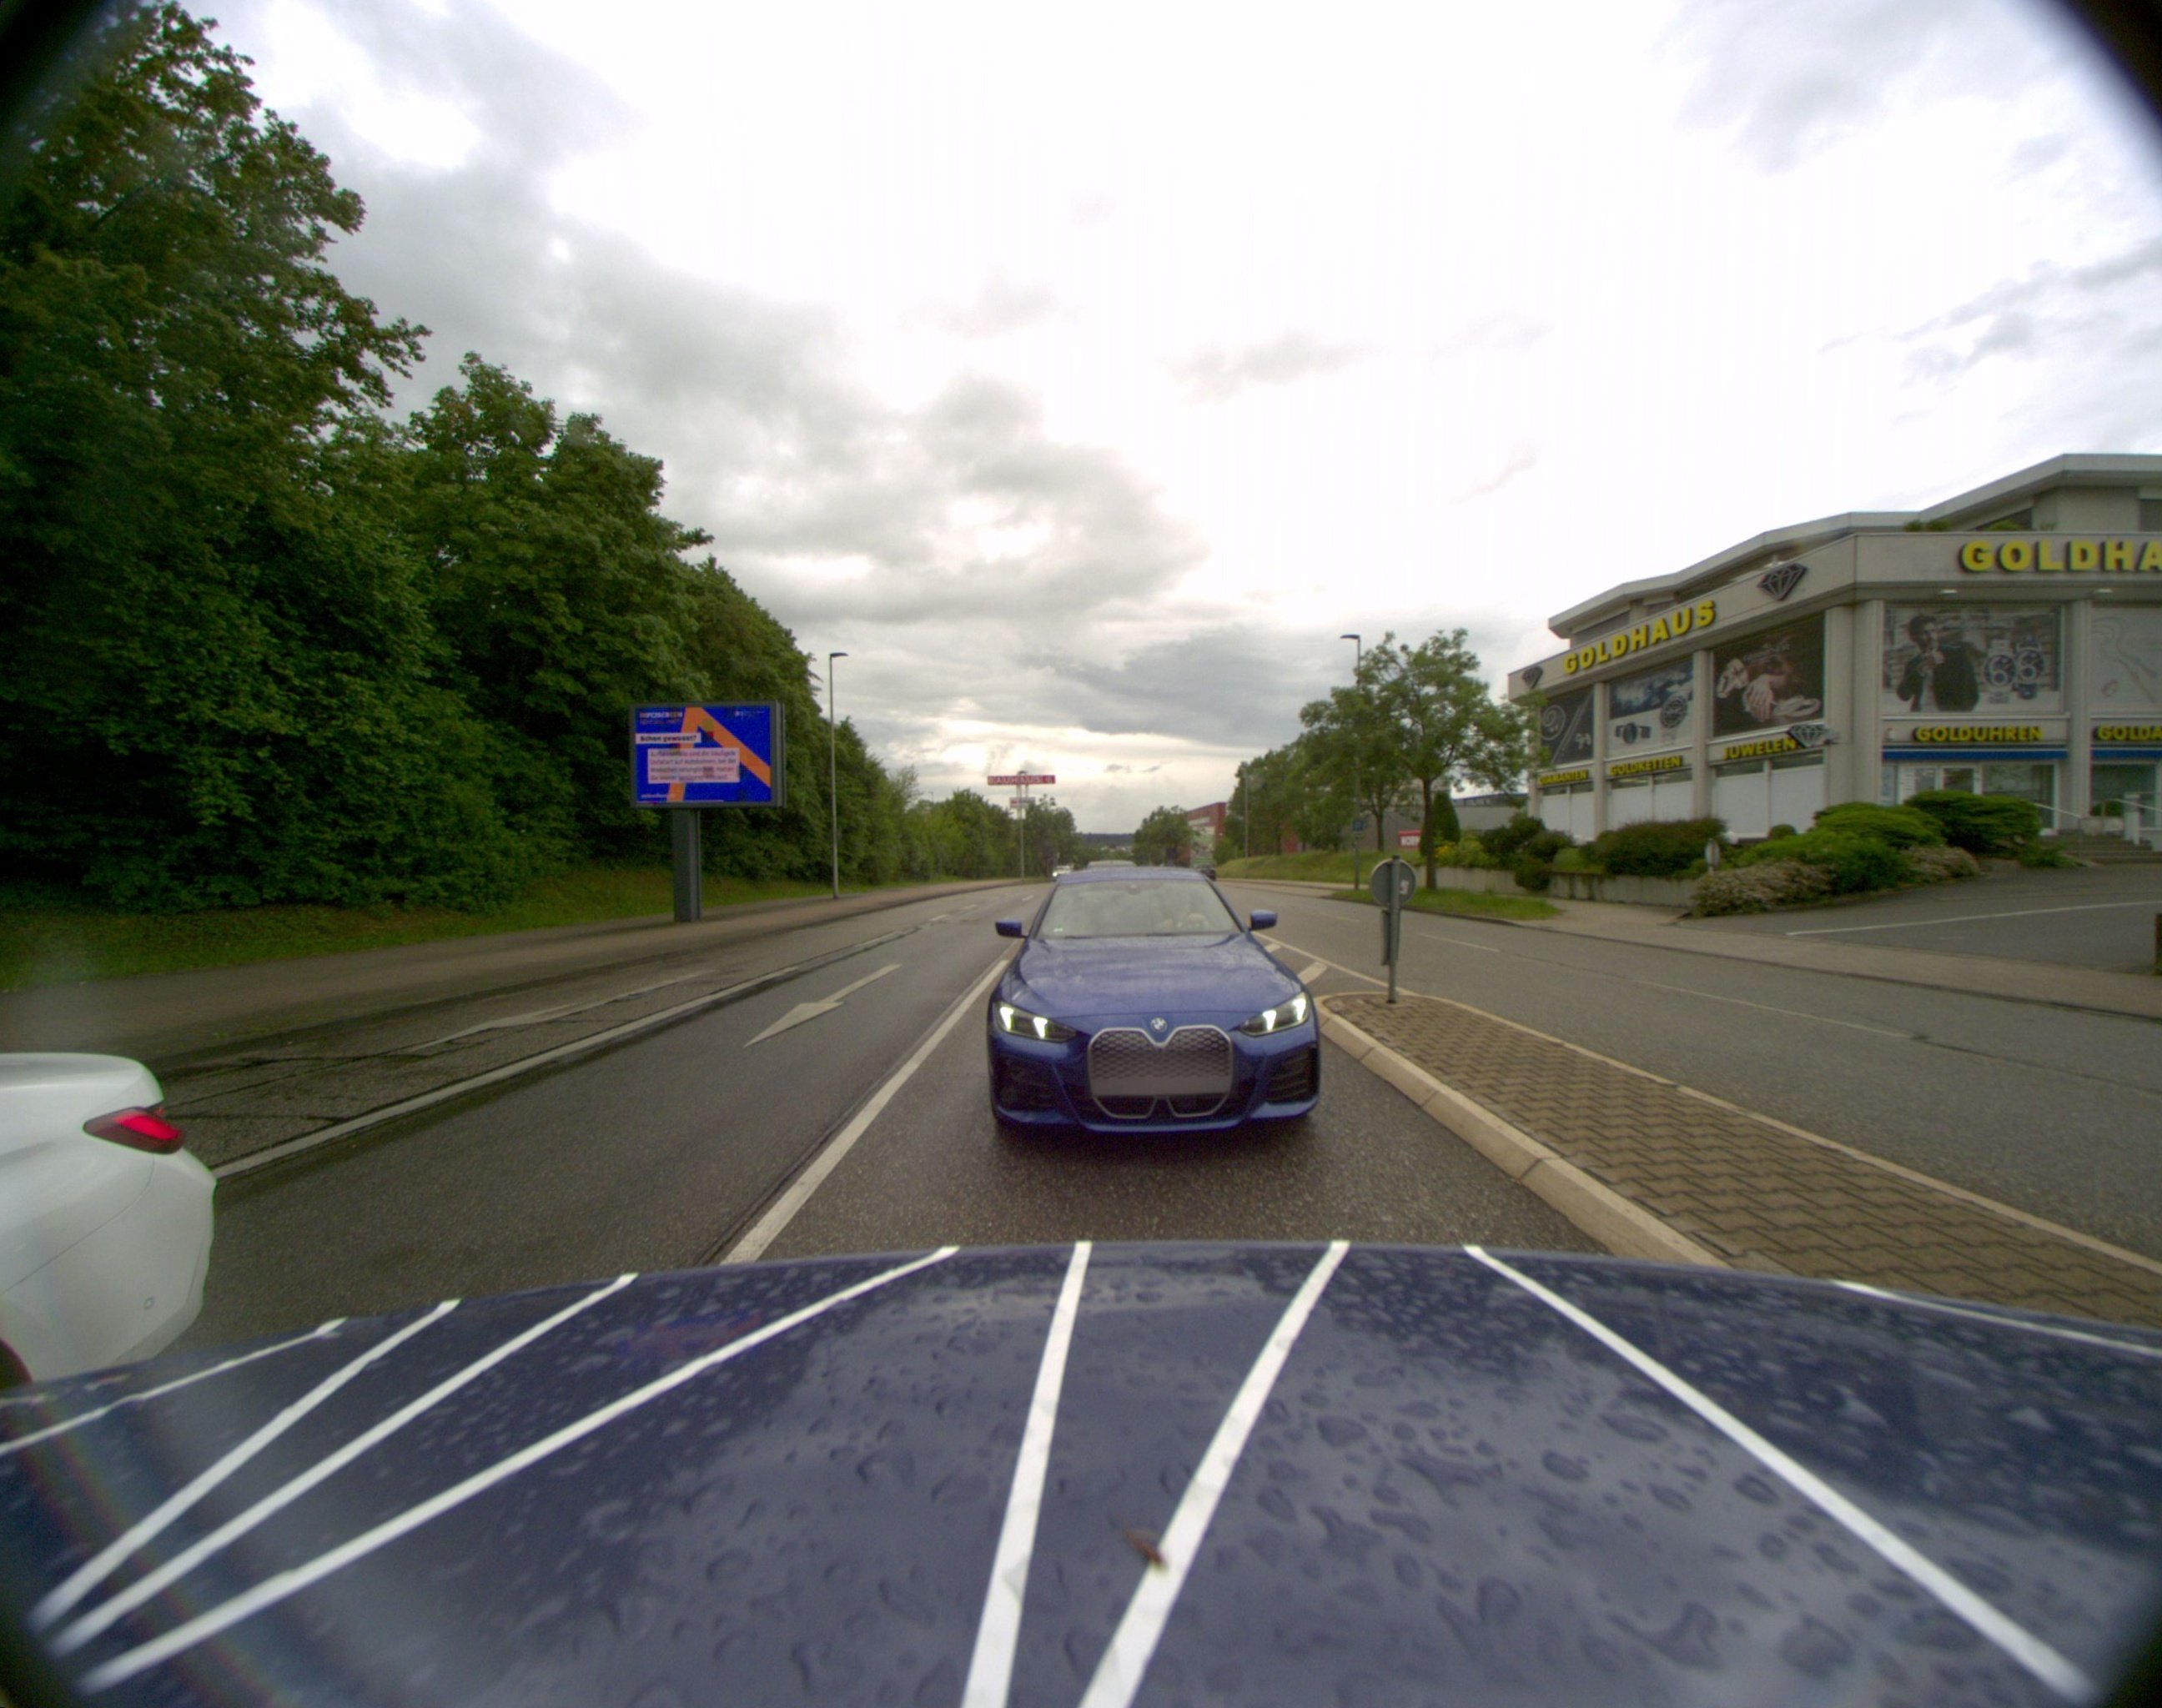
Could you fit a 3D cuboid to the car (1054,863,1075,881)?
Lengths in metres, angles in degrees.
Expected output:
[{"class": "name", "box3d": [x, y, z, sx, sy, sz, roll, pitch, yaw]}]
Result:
[{"class": "car", "box3d": [-1.702, 1.864, 79.628, 1.998, 1.717, 4.317, -1, 0, 1]}]

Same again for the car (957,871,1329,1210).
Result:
[{"class": "car", "box3d": [0.280, 0.965, 6.015, 1.784, 1.448, 4.596, -2, 1, -1]}]

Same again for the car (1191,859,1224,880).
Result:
[{"class": "car", "box3d": [11.537, 1.456, 69.640, 2.350, 1.879, 4.546, 0, -2, 1]}]

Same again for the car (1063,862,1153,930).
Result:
[{"class": "car", "box3d": [0.703, 0.976, 19.425, 1.998, 1.455, 4.369, -2, 0, 2]}]

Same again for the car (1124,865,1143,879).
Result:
[{"class": "car", "box3d": [6.203, 2.150, 89.937, 1.998, 1.586, 4.001, 0, -2, 1]}]

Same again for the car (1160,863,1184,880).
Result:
[{"class": "car", "box3d": [8.624, 1.720, 72.478, 1.998, 1.586, 4.002, 0, -2, 3]}]

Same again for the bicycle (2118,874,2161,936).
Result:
[{"class": "bicycle", "box3d": [16.557, 0.644, 10.837, 2.292, 0.810, 0.910, -6, 0, -1]}]

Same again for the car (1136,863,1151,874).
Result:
[{"class": "car", "box3d": [9.682, 2.240, 117.430, 1.998, 1.586, 4.001, 0, -2, 1]}]

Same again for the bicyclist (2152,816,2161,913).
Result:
[{"class": "bicyclist", "box3d": [16.484, 0.110, 10.831, 1.027, 1.434, 0.910, -6, 0, -1]}]
